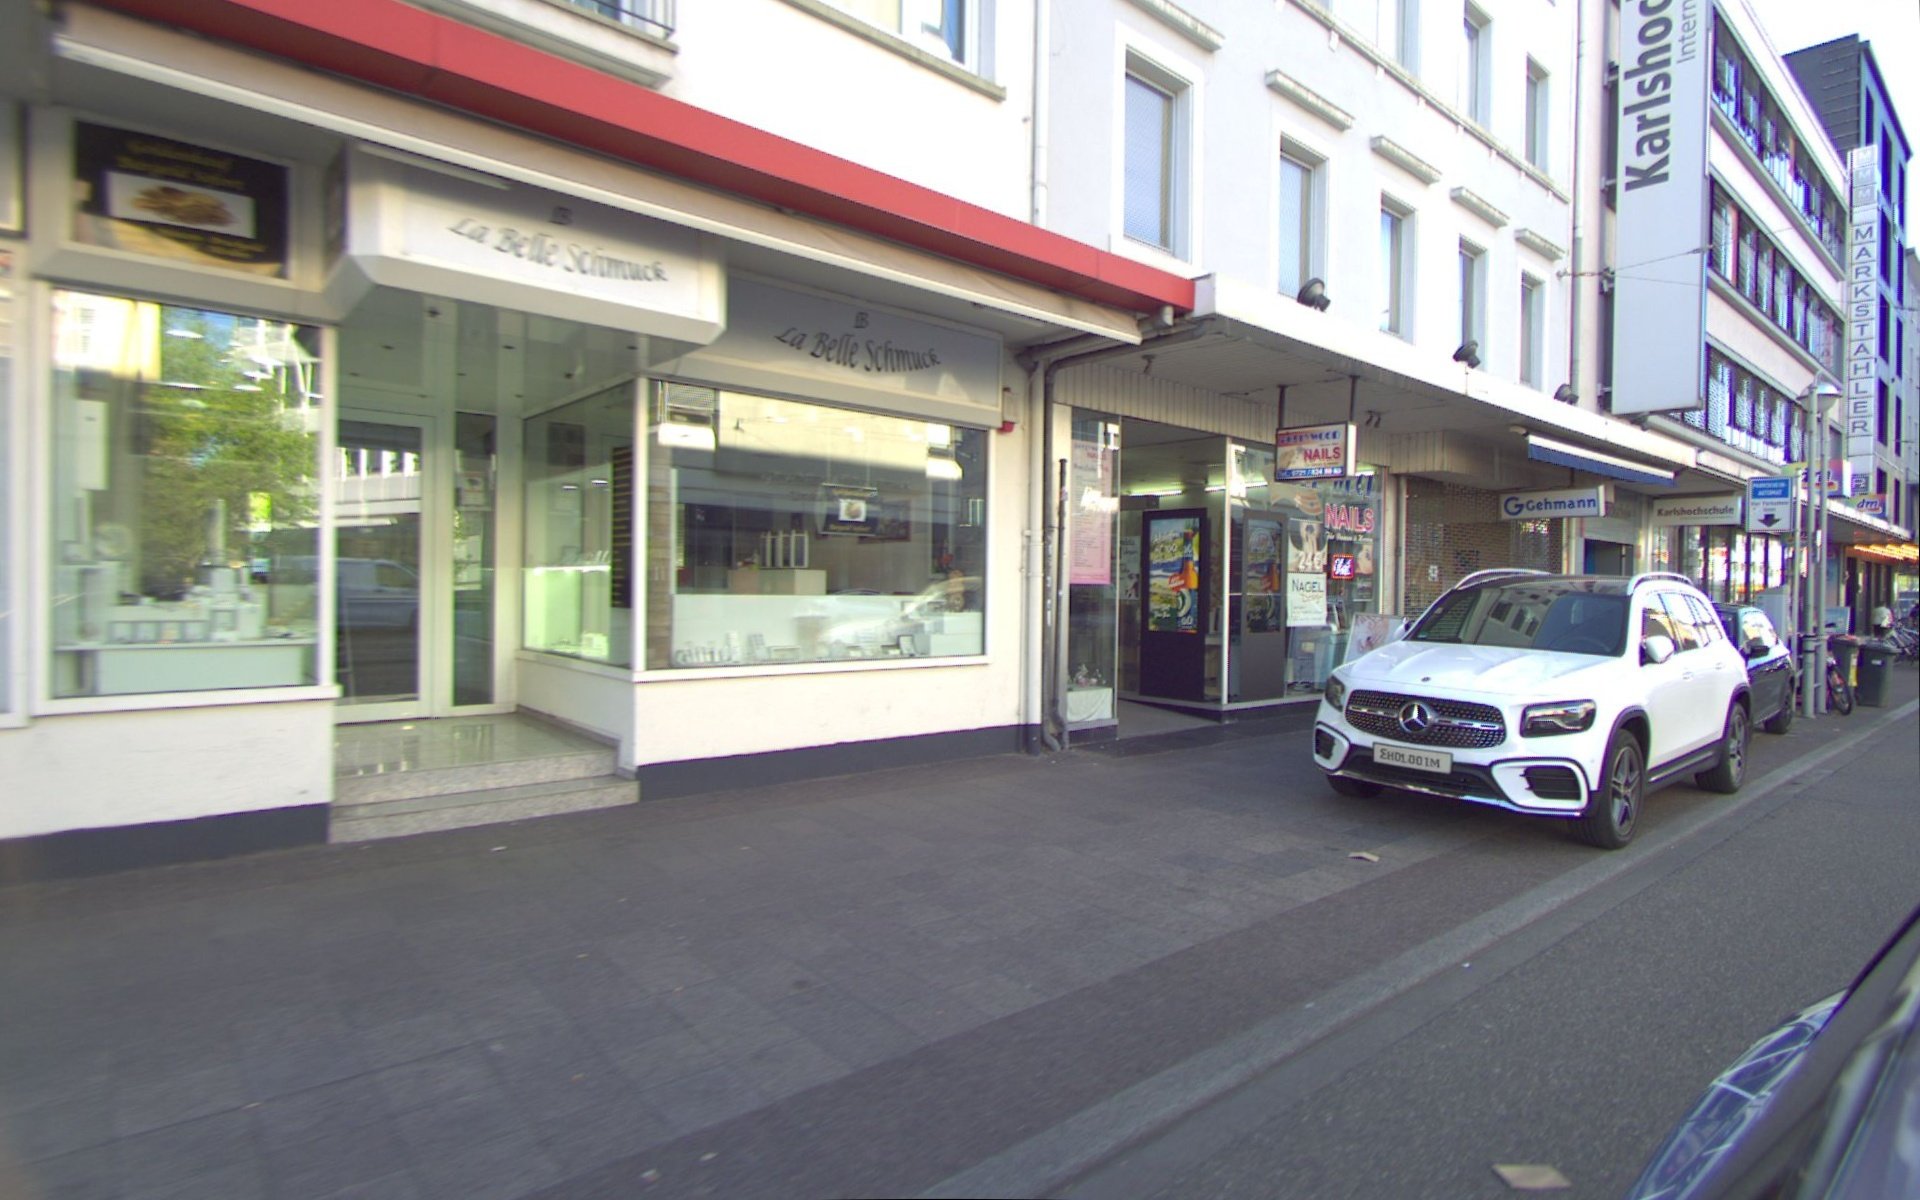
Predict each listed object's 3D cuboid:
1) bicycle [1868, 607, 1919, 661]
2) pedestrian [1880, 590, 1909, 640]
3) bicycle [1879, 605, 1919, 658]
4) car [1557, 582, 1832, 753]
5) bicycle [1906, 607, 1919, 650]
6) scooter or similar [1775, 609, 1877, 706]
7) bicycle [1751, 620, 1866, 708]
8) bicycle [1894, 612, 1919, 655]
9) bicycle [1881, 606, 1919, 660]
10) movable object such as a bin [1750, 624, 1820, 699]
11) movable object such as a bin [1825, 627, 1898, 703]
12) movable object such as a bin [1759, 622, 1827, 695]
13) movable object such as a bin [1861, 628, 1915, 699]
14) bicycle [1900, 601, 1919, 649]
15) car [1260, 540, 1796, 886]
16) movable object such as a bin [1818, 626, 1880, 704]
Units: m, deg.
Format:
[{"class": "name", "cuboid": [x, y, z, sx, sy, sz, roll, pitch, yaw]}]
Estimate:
[{"class": "bicycle", "cuboid": [21.934, 0.795, 23.043, 0.657, 1.174, 1.791, 0, 2, -41]}, {"class": "pedestrian", "cuboid": [30.850, 0.477, 33.409, 0.587, 1.605, 0.582, 0, 3, -42]}, {"class": "bicycle", "cuboid": [23.491, 0.779, 24.485, 0.577, 1.232, 1.791, 0, 2, -41]}, {"class": "car", "cuboid": [8.262, 0.596, 11.258, 4.000, 1.547, 1.617, 0, 2, -41]}, {"class": "bicycle", "cuboid": [26.355, 0.801, 26.871, 1.774, 1.145, 0.471, 3, 2, 45]}, {"class": "scooter or similar", "cuboid": [11.988, 0.775, 14.021, 0.314, 1.247, 0.994, 0, 3, -41]}, {"class": "bicycle", "cuboid": [11.641, 0.855, 13.902, 0.314, 1.093, 1.133, 0, 3, -41]}, {"class": "bicycle", "cuboid": [24.674, 0.869, 25.373, 0.586, 1.044, 1.777, 0, 2, -41]}, {"class": "bicycle", "cuboid": [22.838, 0.787, 23.699, 0.657, 1.232, 1.791, 0, 2, -41]}, {"class": "movable object such as a bin", "cuboid": [12.152, 0.895, 14.903, 0.625, 1.027, 0.660, 0, 1, -38]}, {"class": "movable object such as a bin", "cuboid": [13.089, 0.934, 14.700, 0.499, 1.027, 0.688, 0, 1, -38]}, {"class": "movable object such as a bin", "cuboid": [12.647, 0.868, 15.363, 0.625, 1.027, 0.660, 0, 1, -38]}, {"class": "movable object such as a bin", "cuboid": [13.633, 0.921, 14.866, 0.449, 0.970, 0.489, 0, 2, -37]}, {"class": "bicycle", "cuboid": [26.924, 0.719, 27.445, 2.034, 1.290, 0.517, 3, 1, 40]}, {"class": "car", "cuboid": [4.481, 0.518, 7.532, 5.103, 1.745, 1.853, -1, 3, -41]}, {"class": "movable object such as a bin", "cuboid": [12.550, 0.896, 14.283, 0.659, 1.027, 0.523, 0, 1, -38]}]
